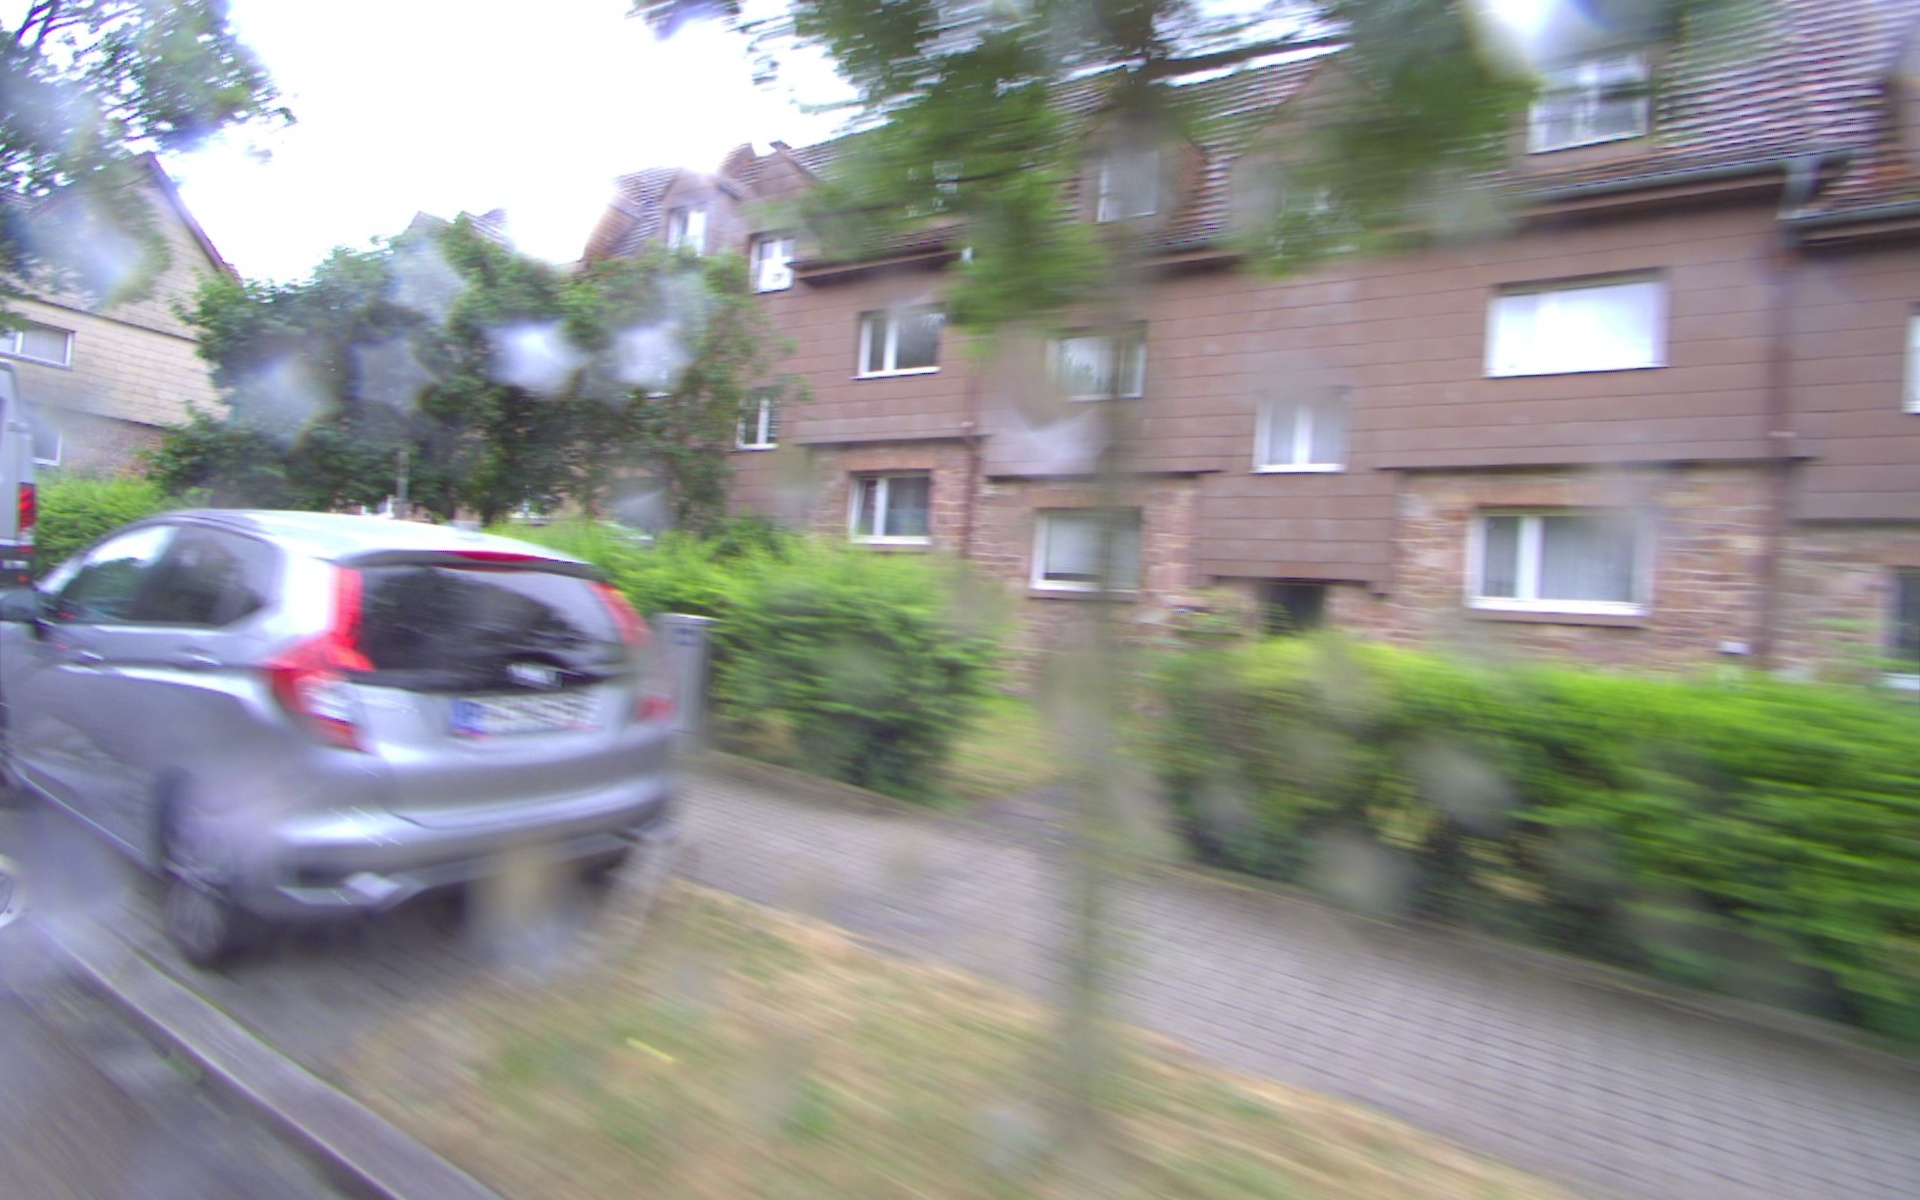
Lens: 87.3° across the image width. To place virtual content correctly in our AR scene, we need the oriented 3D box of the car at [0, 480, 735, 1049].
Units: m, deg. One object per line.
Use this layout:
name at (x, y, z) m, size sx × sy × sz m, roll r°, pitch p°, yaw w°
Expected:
car at (-3.005, 0.357, 4.582) m, size 3.771 × 1.549 × 1.667 m, roll 6°, pitch 2°, yaw 34°

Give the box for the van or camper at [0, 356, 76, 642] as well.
van or camper at (-12.391, -1.327, 10.934) m, size 7.181 × 2.686 × 2.198 m, roll 7°, pitch 2°, yaw 33°
